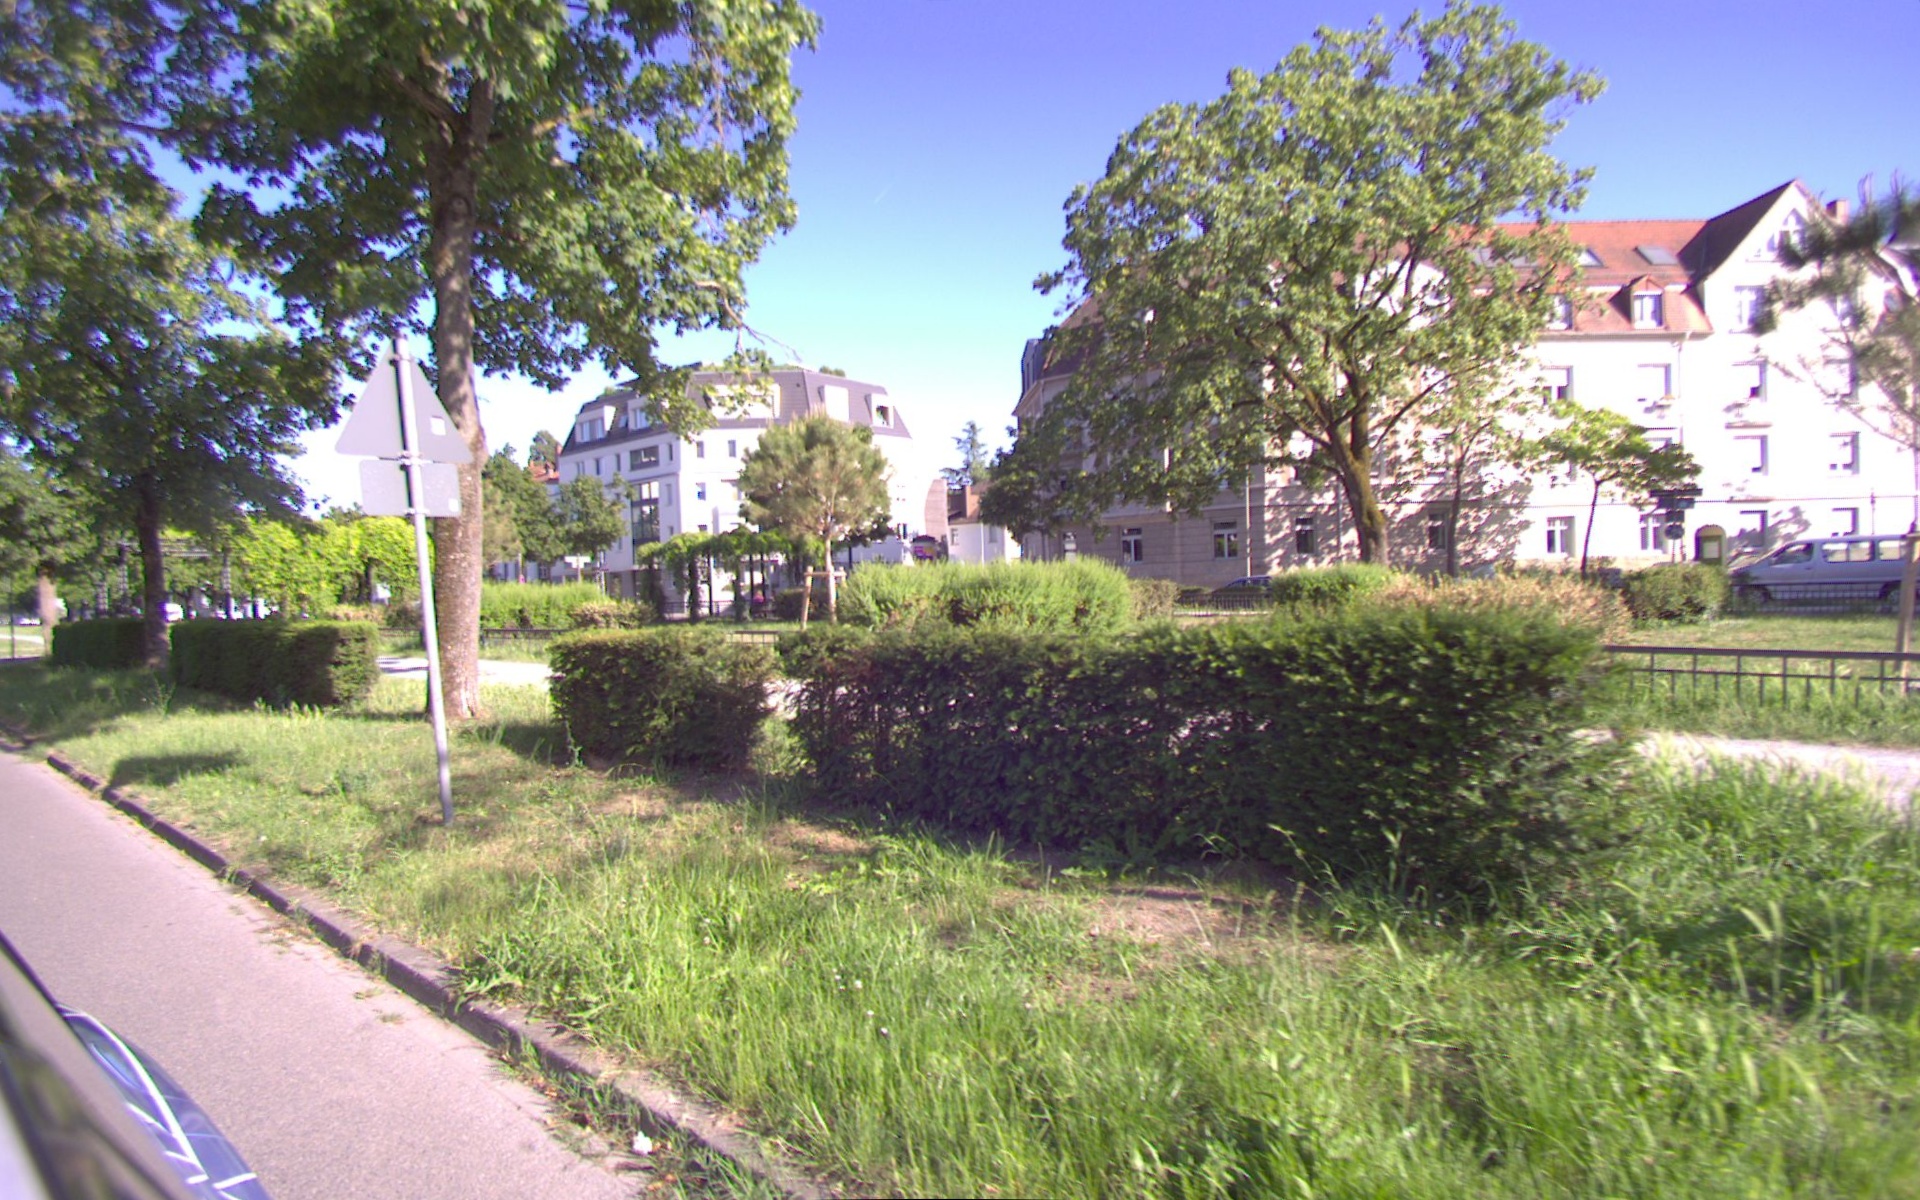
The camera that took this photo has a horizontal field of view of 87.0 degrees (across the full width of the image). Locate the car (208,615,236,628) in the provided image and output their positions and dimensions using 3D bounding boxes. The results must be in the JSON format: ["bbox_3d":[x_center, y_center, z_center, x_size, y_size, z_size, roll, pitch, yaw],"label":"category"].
[{"bbox_3d":[-87.498,2.524,119.988,3.997,1.521,1.776,-1,0,41],"label":"car"}]

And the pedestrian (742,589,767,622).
[{"bbox_3d":[-8.002,0.224,39.383,0.640,1.247,0.651,-3,1,-43],"label":"pedestrian"}]

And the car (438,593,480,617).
[{"bbox_3d":[-44.652,0.476,90.124,4.406,2.044,1.915,-1,0,43],"label":"car"}]

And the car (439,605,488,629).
[{"bbox_3d":[-37.080,1.240,75.561,4.130,1.706,1.776,-1,0,41],"label":"car"}]

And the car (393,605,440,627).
[{"bbox_3d":[-43.405,1.259,80.839,4.406,1.706,2.029,-1,0,44],"label":"car"}]

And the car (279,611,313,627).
[{"bbox_3d":[-65.799,1.919,100.301,3.997,1.521,1.776,-1,0,41],"label":"car"}]

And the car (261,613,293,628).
[{"bbox_3d":[-71.284,2.169,105.599,3.997,1.521,1.776,-1,0,41],"label":"car"}]

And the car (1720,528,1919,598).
[{"bbox_3d":[23.173,-0.960,26.921,4.585,1.647,1.775,-1,1,42],"label":"car"}]

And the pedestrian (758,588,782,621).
[{"bbox_3d":[-7.490,0.185,39.874,0.640,1.247,0.651,-3,1,-43],"label":"pedestrian"}]
